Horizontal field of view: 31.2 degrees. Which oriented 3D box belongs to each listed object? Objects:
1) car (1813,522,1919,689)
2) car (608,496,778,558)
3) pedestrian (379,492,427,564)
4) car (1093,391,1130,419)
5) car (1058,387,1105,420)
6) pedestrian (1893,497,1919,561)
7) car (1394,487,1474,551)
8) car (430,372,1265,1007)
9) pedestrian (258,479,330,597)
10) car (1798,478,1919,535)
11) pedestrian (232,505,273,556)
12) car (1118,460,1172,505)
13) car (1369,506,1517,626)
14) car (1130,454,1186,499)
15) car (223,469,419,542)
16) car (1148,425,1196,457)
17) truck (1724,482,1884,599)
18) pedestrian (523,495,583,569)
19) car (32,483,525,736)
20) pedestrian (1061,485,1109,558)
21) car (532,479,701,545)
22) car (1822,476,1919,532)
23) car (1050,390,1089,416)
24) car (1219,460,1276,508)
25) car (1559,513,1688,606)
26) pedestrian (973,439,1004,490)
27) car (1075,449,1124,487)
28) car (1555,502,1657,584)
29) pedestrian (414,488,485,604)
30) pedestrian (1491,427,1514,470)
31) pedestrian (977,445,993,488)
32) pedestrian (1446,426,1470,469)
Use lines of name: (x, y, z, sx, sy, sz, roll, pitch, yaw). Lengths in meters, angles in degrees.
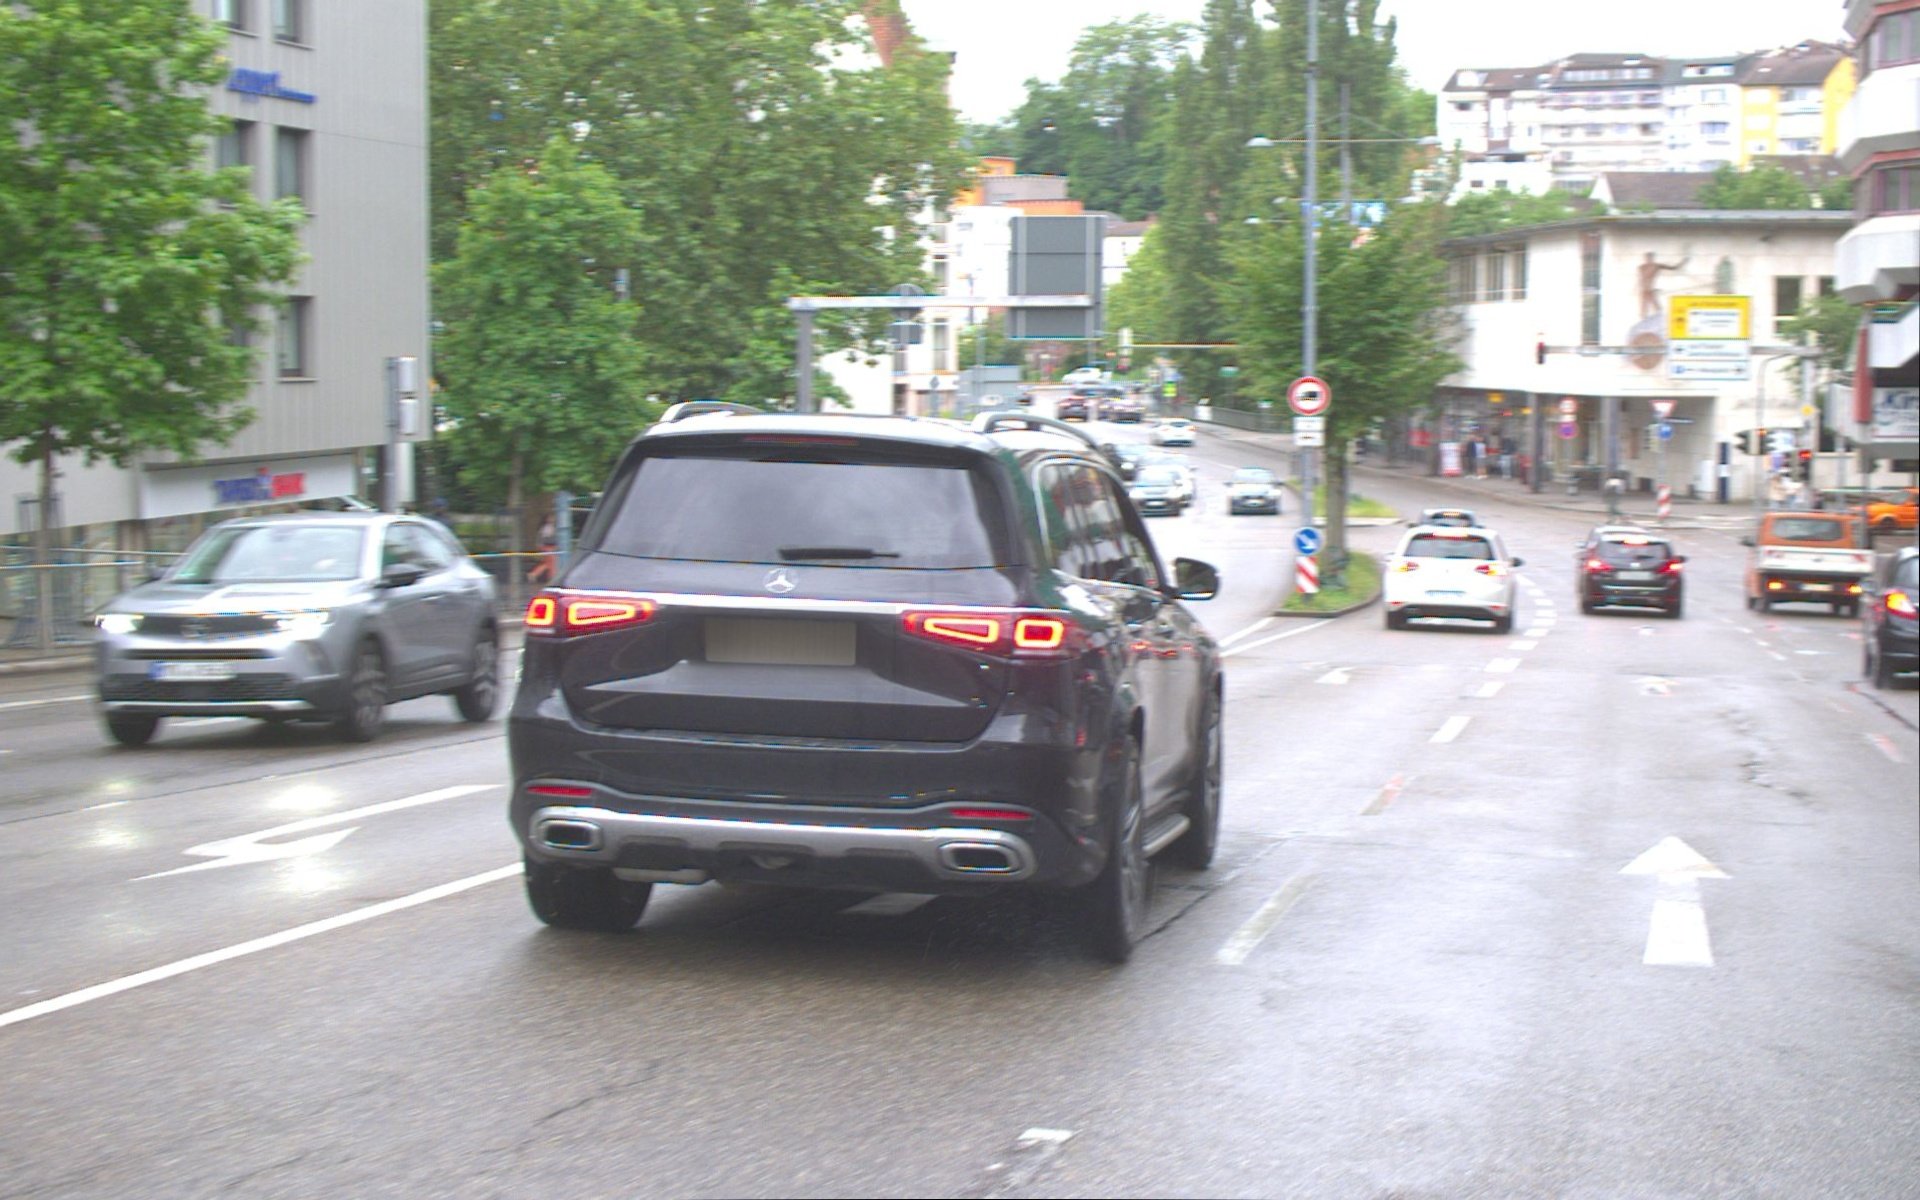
car: (10.069, 0.033, 35.510, 1.950, 1.568, 3.999, 2, 2, 7)
car: (-7.401, -2.047, 95.588, 4.590, 1.477, 1.942, 3, 2, -3)
pedestrian: (-13.522, -1.758, 83.487, 0.758, 1.716, 0.951, 1, 2, 22)
car: (9.522, -12.256, 216.143, 1.831, 1.583, 3.875, 1, 2, -5)
car: (7.905, -12.780, 223.425, 1.993, 2.006, 4.002, 1, 2, -14)
pedestrian: (25.276, -1.891, 91.679, 0.575, 1.694, 0.651, 0, 1, 0)
car: (11.633, -2.008, 84.625, 1.794, 1.463, 4.000, 2, 2, 6)
car: (-0.156, 0.182, 12.734, 2.088, 1.810, 4.791, 3, 2, 10)
pedestrian: (-9.810, -0.925, 50.649, 0.992, 1.716, 1.039, 0, 2, -8)
car: (27.589, -2.823, 104.232, 3.815, 1.611, 1.775, 2, 2, -6)
pedestrian: (-17.582, -1.728, 85.436, 0.948, 1.268, 0.760, 0, 2, -17)
car: (6.189, -3.937, 115.419, 1.706, 1.446, 3.861, 2, 2, 2)
car: (6.950, -0.523, 49.205, 1.951, 1.568, 3.999, 2, 2, 9)
car: (7.057, -4.425, 123.017, 1.777, 1.543, 4.000, 2, 2, 1)
car: (-17.756, -2.634, 95.655, 5.071, 1.753, 2.000, 3, 2, -3)
car: (11.127, -8.334, 180.315, 1.993, 1.590, 4.001, 1, 2, -3)
truck: (16.063, -1.185, 65.718, 2.184, 2.075, 5.602, 2, 2, 6)
pedestrian: (-9.739, -1.641, 82.291, 0.951, 1.716, 1.013, 2, 5, 44)
car: (-4.486, 0.002, 23.299, 1.842, 1.546, 4.092, -1, 2, 11)
pedestrian: (3.257, -2.058, 89.614, 1.064, 1.875, 0.838, 1, 2, 16)
car: (-9.796, -2.508, 98.135, 4.681, 1.638, 1.787, 3, 2, -5)
car: (28.424, -2.889, 104.340, 3.996, 1.611, 1.775, 2, 2, 0)
car: (6.893, -12.416, 216.520, 1.748, 1.549, 3.570, 1, 2, -9)
car: (9.679, -3.900, 115.815, 1.820, 1.543, 4.000, 2, 2, 5)
car: (11.902, -0.763, 61.841, 1.812, 1.436, 4.000, 3, 3, 5)
pedestrian: (1.008, -4.756, 121.013, 0.903, 1.796, 0.628, -1, 2, -31)
car: (5.837, -5.520, 143.991, 1.777, 1.543, 4.001, 2, 2, -1)
car: (13.611, -1.226, 72.588, 1.761, 1.537, 4.000, 2, 3, 6)
pedestrian: (-7.672, -0.823, 51.667, 0.815, 1.707, 1.313, 0, 2, 3)
pedestrian: (22.571, -6.299, 143.035, 0.702, 1.796, 0.939, 0, 2, -5)
pedestrian: (1.076, -5.694, 146.663, 0.625, 1.796, 0.906, 0, 2, 2)
pedestrian: (20.887, -6.377, 144.097, 0.798, 1.796, 0.918, 0, 2, -5)
